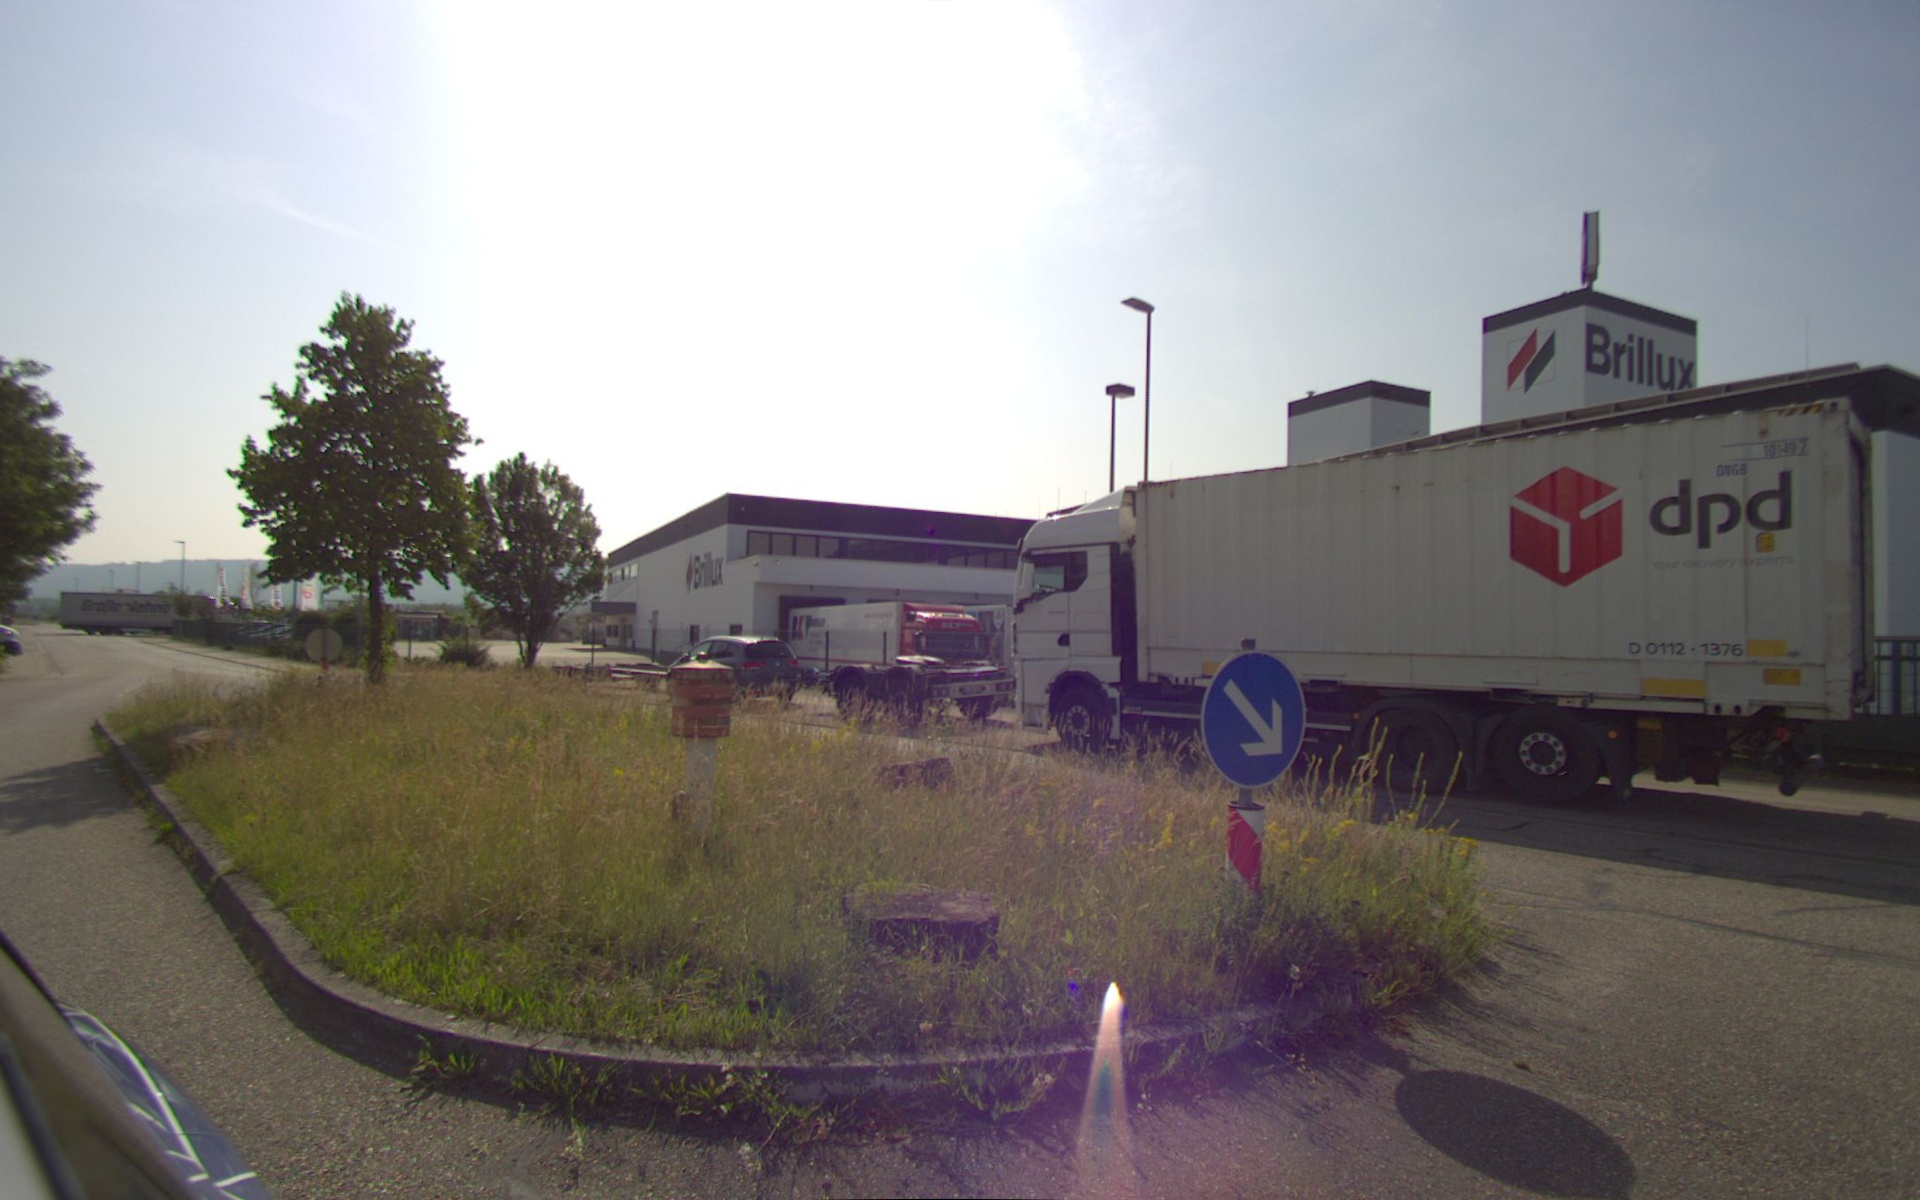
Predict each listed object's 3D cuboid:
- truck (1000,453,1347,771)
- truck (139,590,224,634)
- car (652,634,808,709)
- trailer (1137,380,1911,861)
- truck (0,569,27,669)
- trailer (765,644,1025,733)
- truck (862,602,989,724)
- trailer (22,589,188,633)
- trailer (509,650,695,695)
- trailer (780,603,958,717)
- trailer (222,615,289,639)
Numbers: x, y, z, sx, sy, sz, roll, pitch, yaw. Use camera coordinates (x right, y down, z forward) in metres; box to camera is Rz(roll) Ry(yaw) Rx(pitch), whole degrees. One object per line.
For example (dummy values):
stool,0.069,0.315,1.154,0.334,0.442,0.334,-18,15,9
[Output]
truck,3.075,0.158,15.071,2.677,3.951,4.300,1,-1,-44
truck,-76.403,1.180,99.344,6.028,4.239,3.389,0,0,8
car,-5.564,1.628,24.156,1.675,1.573,4.340,0,-1,-43
trailer,5.996,0.173,11.998,2.668,3.951,7.582,1,-1,-44
truck,-36.103,0.449,33.031,8.112,3.396,2.743,4,-3,-44
trailer,-1.429,1.649,20.243,2.648,1.464,5.083,2,-3,-42
truck,-1.389,2.155,37.355,2.477,4.102,5.561,1,0,-28
trailer,-84.119,1.066,99.709,14.049,4.239,3.496,0,0,4
trailer,-10.540,2.025,29.390,2.517,0.932,6.714,-1,0,-44
trailer,-4.357,2.187,43.081,2.447,4.072,13.934,1,0,-27
trailer,-85.355,3.328,122.727,6.219,2.624,2.863,4,-4,-29
